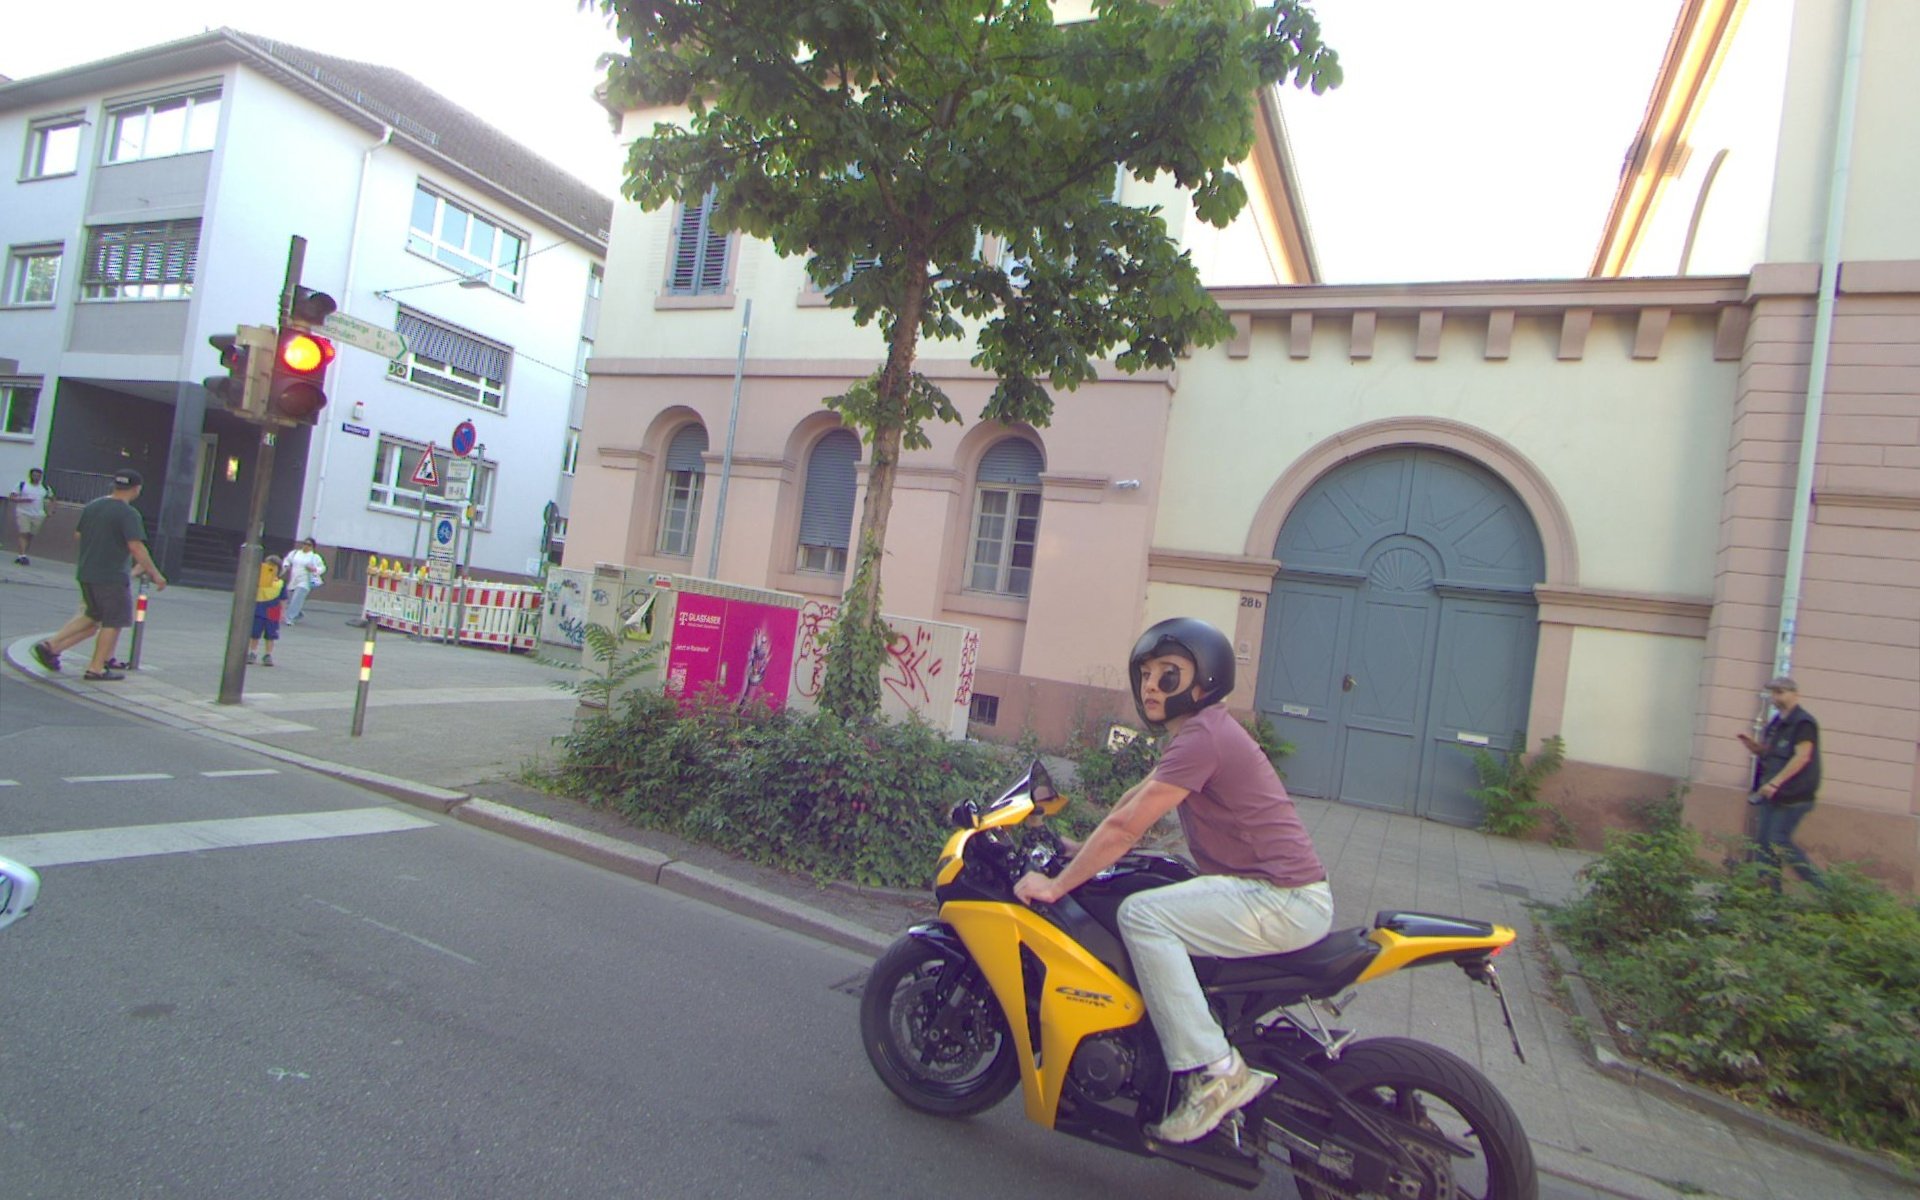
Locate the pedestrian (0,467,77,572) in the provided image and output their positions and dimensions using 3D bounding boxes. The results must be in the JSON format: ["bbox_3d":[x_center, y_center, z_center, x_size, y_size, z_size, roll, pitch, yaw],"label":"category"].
[{"bbox_3d":[-18.111,-1.564,19.684,0.927,1.862,0.769,8,-1,27],"label":"pedestrian"}]

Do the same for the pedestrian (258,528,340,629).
[{"bbox_3d":[-10.989,-0.354,16.756,0.766,1.518,0.798,9,-1,-19],"label":"pedestrian"}]

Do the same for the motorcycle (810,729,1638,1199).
[{"bbox_3d":[0.676,1.124,2.941,1.931,1.173,0.794,7,-2,23],"label":"motorcycle"}]

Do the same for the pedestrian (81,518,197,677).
[{"bbox_3d":[-7.517,-0.017,9.216,0.498,1.351,0.540,8,-1,31],"label":"pedestrian"}]

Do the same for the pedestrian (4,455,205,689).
[{"bbox_3d":[-7.337,-0.217,8.655,0.780,1.836,0.891,8,-1,26],"label":"pedestrian"}]

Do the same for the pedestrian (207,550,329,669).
[{"bbox_3d":[-7.354,0.106,10.702,0.821,1.134,0.567,8,1,17],"label":"pedestrian"}]

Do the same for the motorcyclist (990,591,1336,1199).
[{"bbox_3d":[0.643,0.770,2.969,0.686,1.436,0.794,7,-2,23],"label":"motorcyclist"}]

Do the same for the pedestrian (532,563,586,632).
[{"bbox_3d":[-11.222,-0.063,28.187,0.917,1.772,0.771,8,-1,27],"label":"pedestrian"}]

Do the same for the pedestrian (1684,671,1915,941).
[{"bbox_3d":[6.655,1.571,8.061,1.064,1.862,0.799,8,2,28],"label":"pedestrian"}]
